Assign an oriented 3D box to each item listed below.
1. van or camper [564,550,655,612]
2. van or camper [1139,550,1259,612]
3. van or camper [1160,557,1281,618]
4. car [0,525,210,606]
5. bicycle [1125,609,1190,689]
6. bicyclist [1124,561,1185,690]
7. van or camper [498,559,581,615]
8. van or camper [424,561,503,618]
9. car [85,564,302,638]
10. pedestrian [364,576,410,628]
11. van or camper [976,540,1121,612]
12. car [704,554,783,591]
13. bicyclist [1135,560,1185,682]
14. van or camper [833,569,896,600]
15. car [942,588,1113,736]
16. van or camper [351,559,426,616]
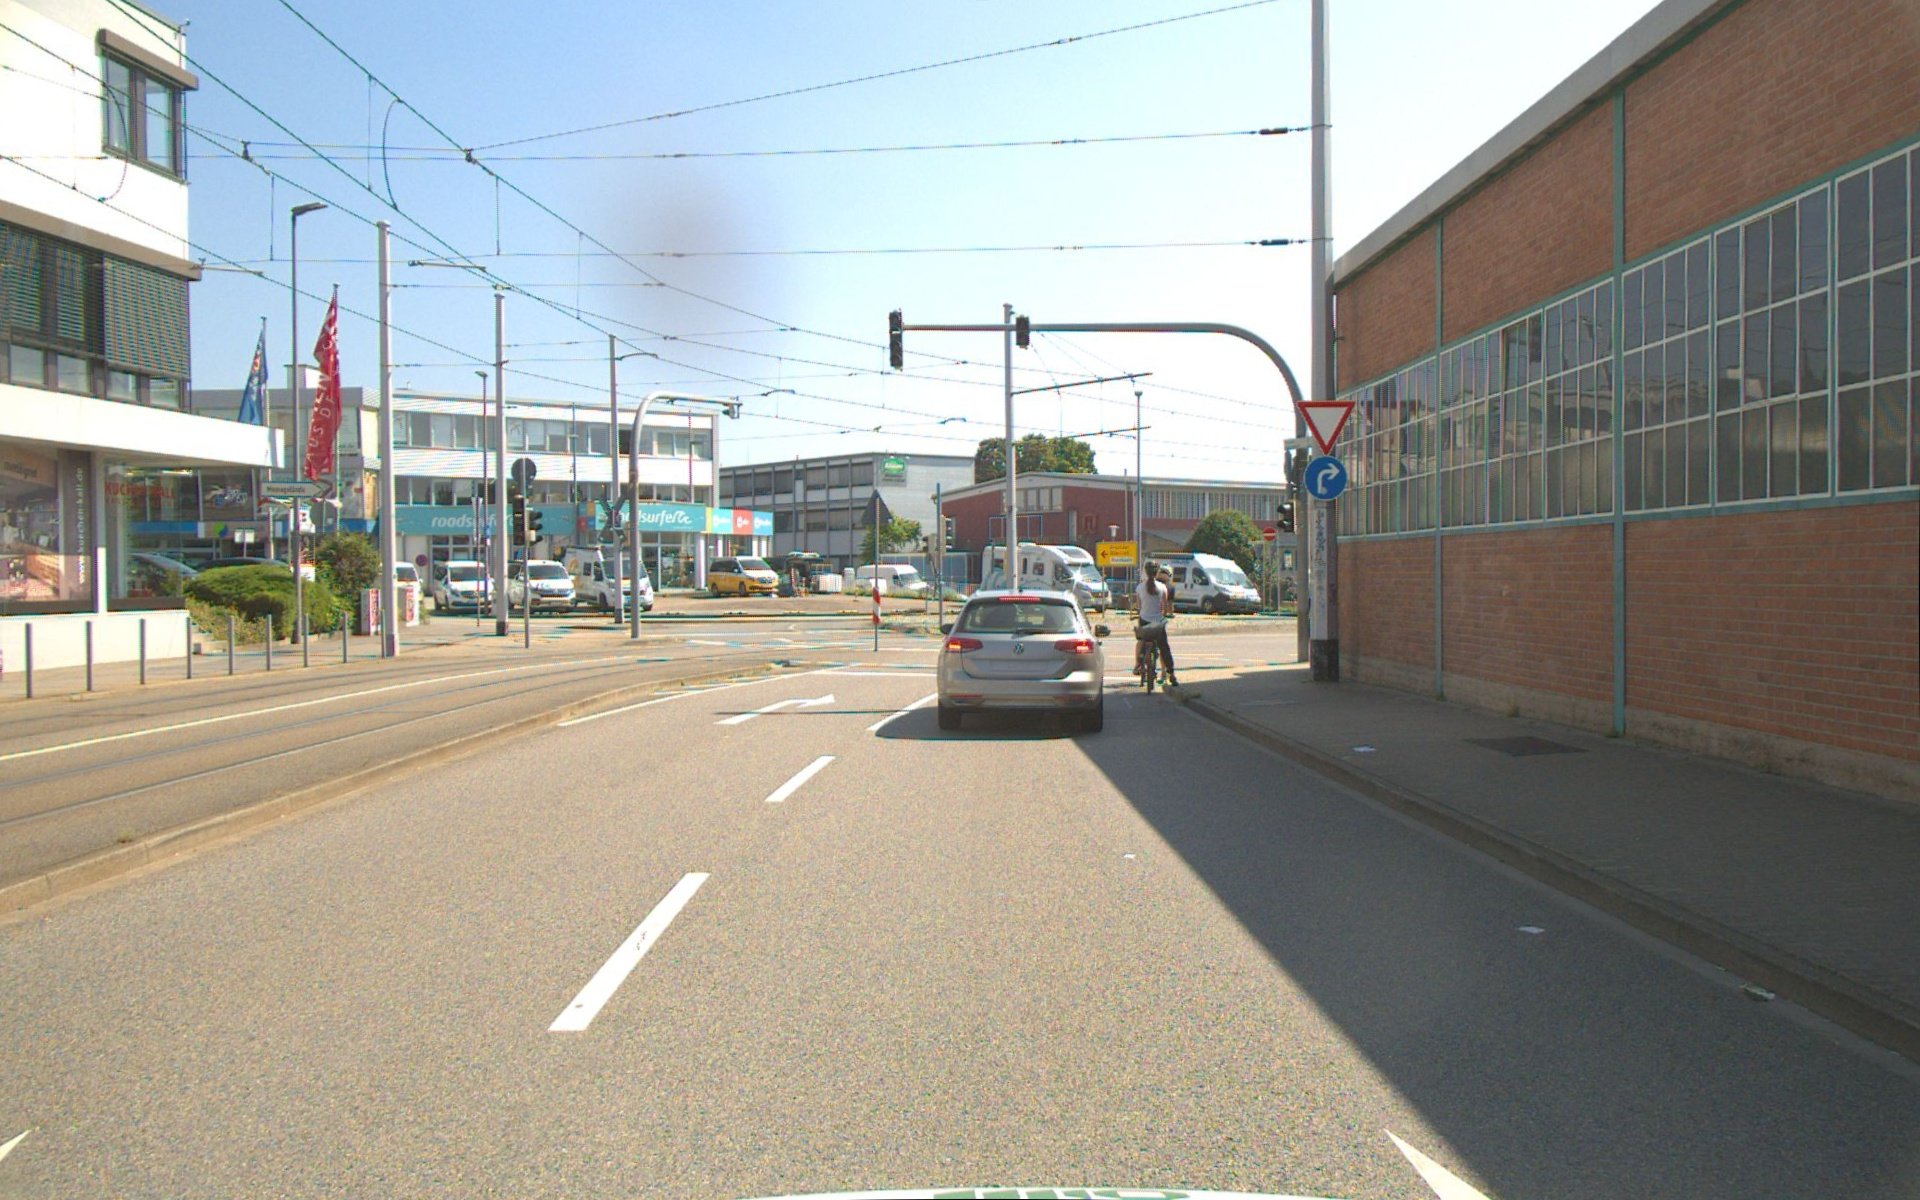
[{"bbox_3d":[-14.487,-0.838,68.109,2.010,2.336,5.755,-1,3,-30],"label":"van or camper"},{"bbox_3d":[10.732,-0.902,74.575,2.265,2.482,5.319,-2,5,-36],"label":"van or camper"},{"bbox_3d":[12.325,-0.647,78.568,2.264,2.656,5.818,-2,3,-36],"label":"van or camper"},{"bbox_3d":[-17.518,-0.682,33.282,3.904,1.590,2.001,0,0,2],"label":"car"},{"bbox_3d":[2.760,0.663,23.320,0.777,1.039,2.152,0,1,3],"label":"bicycle"},{"bbox_3d":[2.714,0.345,23.157,0.769,1.752,1.147,0,0,3],"label":"bicyclist"},{"bbox_3d":[-17.021,-0.575,66.816,1.973,2.048,4.961,-1,3,-30],"label":"van or camper"},{"bbox_3d":[-19.900,-0.464,66.179,1.973,2.048,4.715,-1,3,-30],"label":"van or camper"},{"bbox_3d":[-17.135,0.000,37.117,3.904,1.545,2.001,0,3,2],"label":"car"},{"bbox_3d":[-16.360,0.059,47.222,1.109,1.480,0.836,0,0,-10],"label":"pedestrian"},{"bbox_3d":[3.853,-1.142,73.686,2.334,2.981,6.880,-2,4,-42],"label":"van or camper"},{"bbox_3d":[-10.762,-1.332,81.936,1.921,1.790,5.063,-1,0,-33],"label":"car"},{"bbox_3d":[3.068,0.314,25.434,0.693,1.842,0.983,0,0,2],"label":"bicyclist"},{"bbox_3d":[-6.286,-1.003,108.507,3.932,1.982,1.987,0,1,44],"label":"van or camper"},{"bbox_3d":[0.765,0.610,18.632,1.710,1.484,4.002,0,0,3],"label":"car"},{"bbox_3d":[-22.901,-0.548,66.190,1.973,2.048,4.715,-1,3,-30],"label":"van or camper"}]
